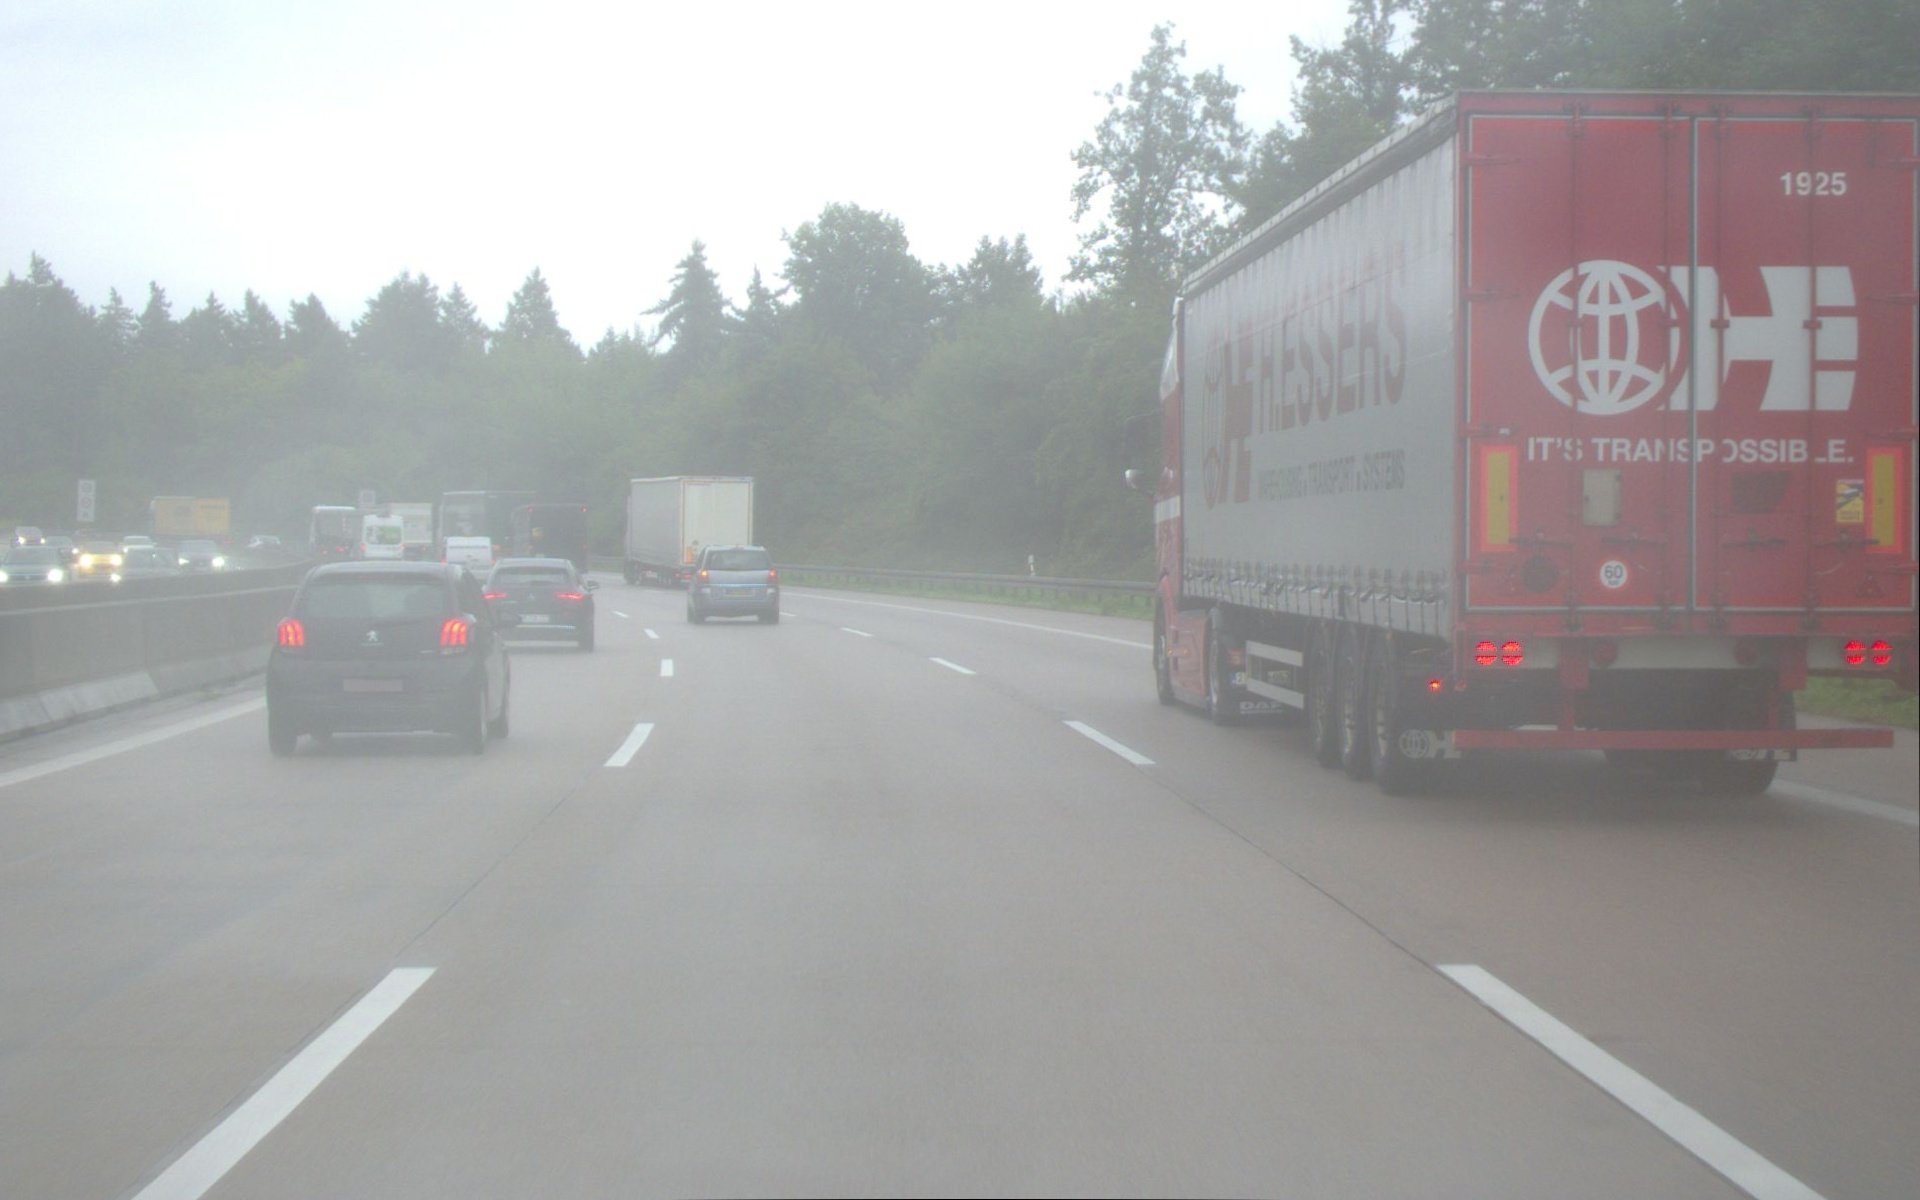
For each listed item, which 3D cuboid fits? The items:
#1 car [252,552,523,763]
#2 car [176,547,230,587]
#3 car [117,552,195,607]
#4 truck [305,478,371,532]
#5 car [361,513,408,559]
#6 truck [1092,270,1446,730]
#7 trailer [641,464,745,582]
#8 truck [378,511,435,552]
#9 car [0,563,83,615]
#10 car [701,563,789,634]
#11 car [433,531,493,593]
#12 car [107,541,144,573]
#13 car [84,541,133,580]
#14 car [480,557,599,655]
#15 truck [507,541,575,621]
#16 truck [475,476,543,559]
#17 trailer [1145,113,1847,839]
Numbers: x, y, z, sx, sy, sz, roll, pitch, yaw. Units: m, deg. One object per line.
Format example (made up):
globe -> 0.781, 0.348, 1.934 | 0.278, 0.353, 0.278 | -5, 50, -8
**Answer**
car -> -4.421, 0.397, 26.988 | 1.683, 1.457, 3.684 | 2, 1, -4
car -> -30.127, -1.317, 136.894 | 1.864, 1.543, 4.001 | 0, 1, -9
car -> -20.449, -0.544, 87.508 | 1.653, 1.342, 4.087 | 0, 1, -9
truck -> -35.115, -5.373, 193.861 | 3.081, 2.895, 7.906 | 1, 2, -14
car -> -26.538, -2.943, 158.361 | 1.993, 2.052, 4.001 | 0, 1, -12
truck -> 2.773, -0.903, 32.620 | 2.374, 3.940, 6.161 | 0, 1, -4
trailer -> -9.821, -2.849, 125.260 | 2.419, 4.054, 12.059 | 1, 2, -11
truck -> -33.564, -4.171, 208.365 | 2.973, 2.301, 6.669 | 2, 1, -12
car -> -24.873, -0.316, 93.139 | 1.653, 1.342, 4.087 | 1, 1, -7
car -> -4.415, -0.056, 71.016 | 1.554, 1.347, 3.684 | 2, 1, 0
car -> -16.547, -1.277, 114.284 | 1.725, 2.007, 3.658 | 0, 1, -12
car -> -44.221, -2.278, 182.235 | 1.808, 1.678, 4.001 | 0, 1, -13
car -> -34.080, -1.597, 137.621 | 1.573, 1.482, 4.285 | 0, 1, -9
car -> -6.347, 0.072, 52.163 | 1.553, 1.347, 3.684 | 2, 1, -4
truck -> -16.674, -0.803, 136.501 | 2.269, 2.877, 7.906 | 1, 2, -10
truck -> -23.328, -4.284, 177.808 | 3.368, 4.117, 10.440 | 1, 2, -8
trailer -> 3.273, -0.761, 25.038 | 2.370, 3.940, 12.522 | 1, 1, -4
